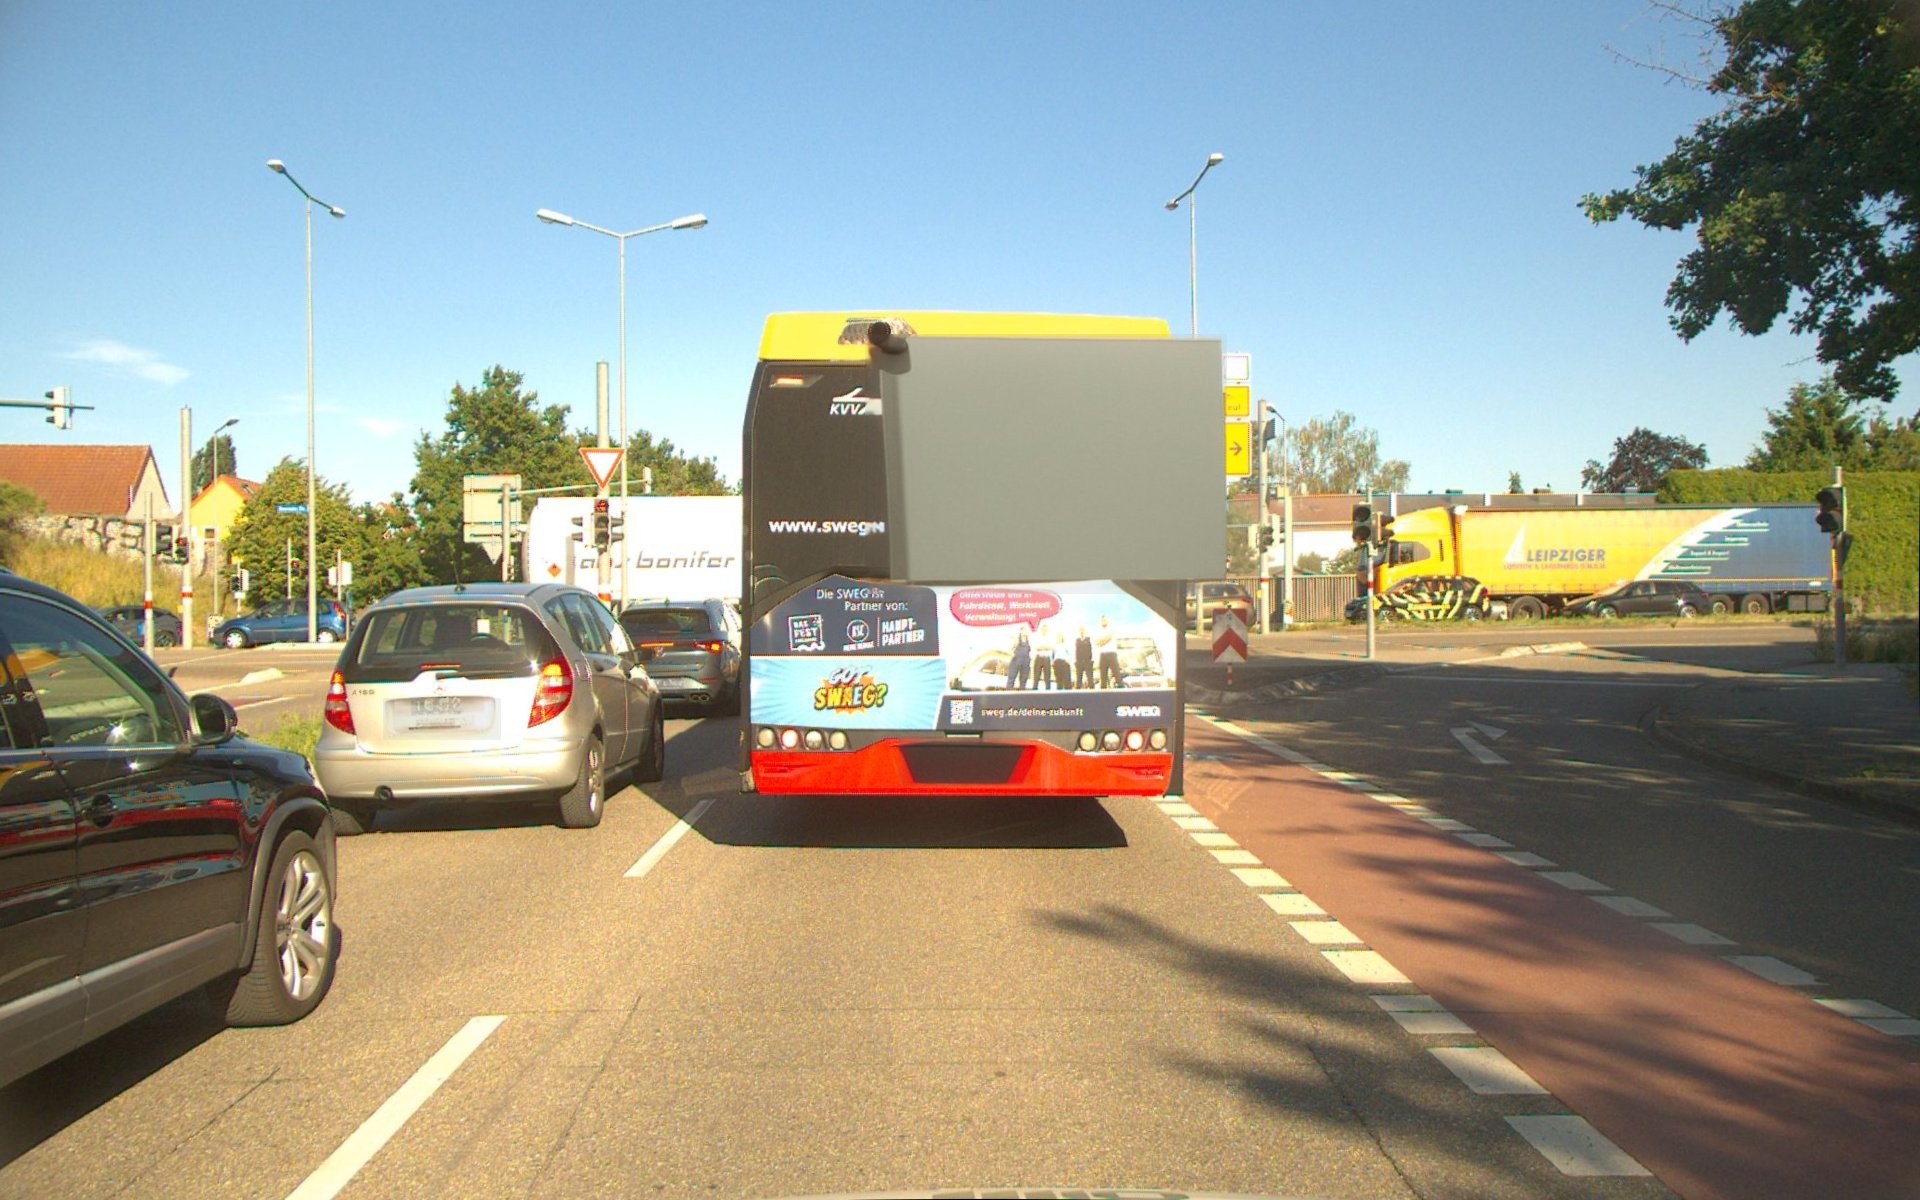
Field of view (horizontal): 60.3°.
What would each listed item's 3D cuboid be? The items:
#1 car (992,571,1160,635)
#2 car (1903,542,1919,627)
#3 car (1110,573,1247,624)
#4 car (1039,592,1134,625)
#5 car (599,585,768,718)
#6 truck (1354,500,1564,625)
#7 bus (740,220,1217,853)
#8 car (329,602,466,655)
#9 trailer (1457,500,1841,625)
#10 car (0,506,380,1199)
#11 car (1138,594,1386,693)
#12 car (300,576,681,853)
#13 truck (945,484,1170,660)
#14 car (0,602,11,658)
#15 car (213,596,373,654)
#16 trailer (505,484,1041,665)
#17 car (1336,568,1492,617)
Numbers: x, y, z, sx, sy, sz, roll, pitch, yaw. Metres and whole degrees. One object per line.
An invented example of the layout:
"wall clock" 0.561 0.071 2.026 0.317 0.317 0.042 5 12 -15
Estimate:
"car" 3.002 0.100 43.256 4.139 1.590 1.761 1 -1 -6
"car" 16.527 -0.215 25.922 3.355 1.318 1.448 1 -1 -26
"car" 6.664 -0.035 50.622 3.911 1.467 1.563 1 -1 -7
"car" 4.943 0.324 64.815 3.520 1.287 1.349 0 0 34
"car" -3.417 0.616 20.999 1.556 1.512 3.681 -1 -1 -1
"truck" 16.627 -1.251 55.262 6.277 4.068 2.469 0 0 -8
"bus" 0.015 -0.357 14.938 2.543 3.393 11.981 1 0 -1
"car" -18.244 0.911 53.732 3.910 1.640 1.693 0 0 -7
"trailer" 23.354 -1.281 56.194 12.492 4.100 2.466 0 0 -8
"car" -3.147 0.665 4.462 1.784 1.703 4.001 -2 -1 -1
"car" 4.358 0.607 24.170 3.447 1.325 1.576 1 1 8
"car" -3.215 0.671 12.154 1.718 1.648 4.032 0 1 -2
"truck" 2.113 -0.621 36.931 4.707 3.760 2.408 0 0 -6
"car" -25.645 0.720 40.517 3.775 1.409 1.679 1 -1 -10
"car" -19.071 0.724 47.430 3.911 1.580 1.693 1 -1 -8
"trailer" -3.984 -0.569 36.253 11.256 3.761 2.392 0 0 -7
"car" 13.133 -0.203 47.932 4.078 1.325 1.573 1 -1 -4
